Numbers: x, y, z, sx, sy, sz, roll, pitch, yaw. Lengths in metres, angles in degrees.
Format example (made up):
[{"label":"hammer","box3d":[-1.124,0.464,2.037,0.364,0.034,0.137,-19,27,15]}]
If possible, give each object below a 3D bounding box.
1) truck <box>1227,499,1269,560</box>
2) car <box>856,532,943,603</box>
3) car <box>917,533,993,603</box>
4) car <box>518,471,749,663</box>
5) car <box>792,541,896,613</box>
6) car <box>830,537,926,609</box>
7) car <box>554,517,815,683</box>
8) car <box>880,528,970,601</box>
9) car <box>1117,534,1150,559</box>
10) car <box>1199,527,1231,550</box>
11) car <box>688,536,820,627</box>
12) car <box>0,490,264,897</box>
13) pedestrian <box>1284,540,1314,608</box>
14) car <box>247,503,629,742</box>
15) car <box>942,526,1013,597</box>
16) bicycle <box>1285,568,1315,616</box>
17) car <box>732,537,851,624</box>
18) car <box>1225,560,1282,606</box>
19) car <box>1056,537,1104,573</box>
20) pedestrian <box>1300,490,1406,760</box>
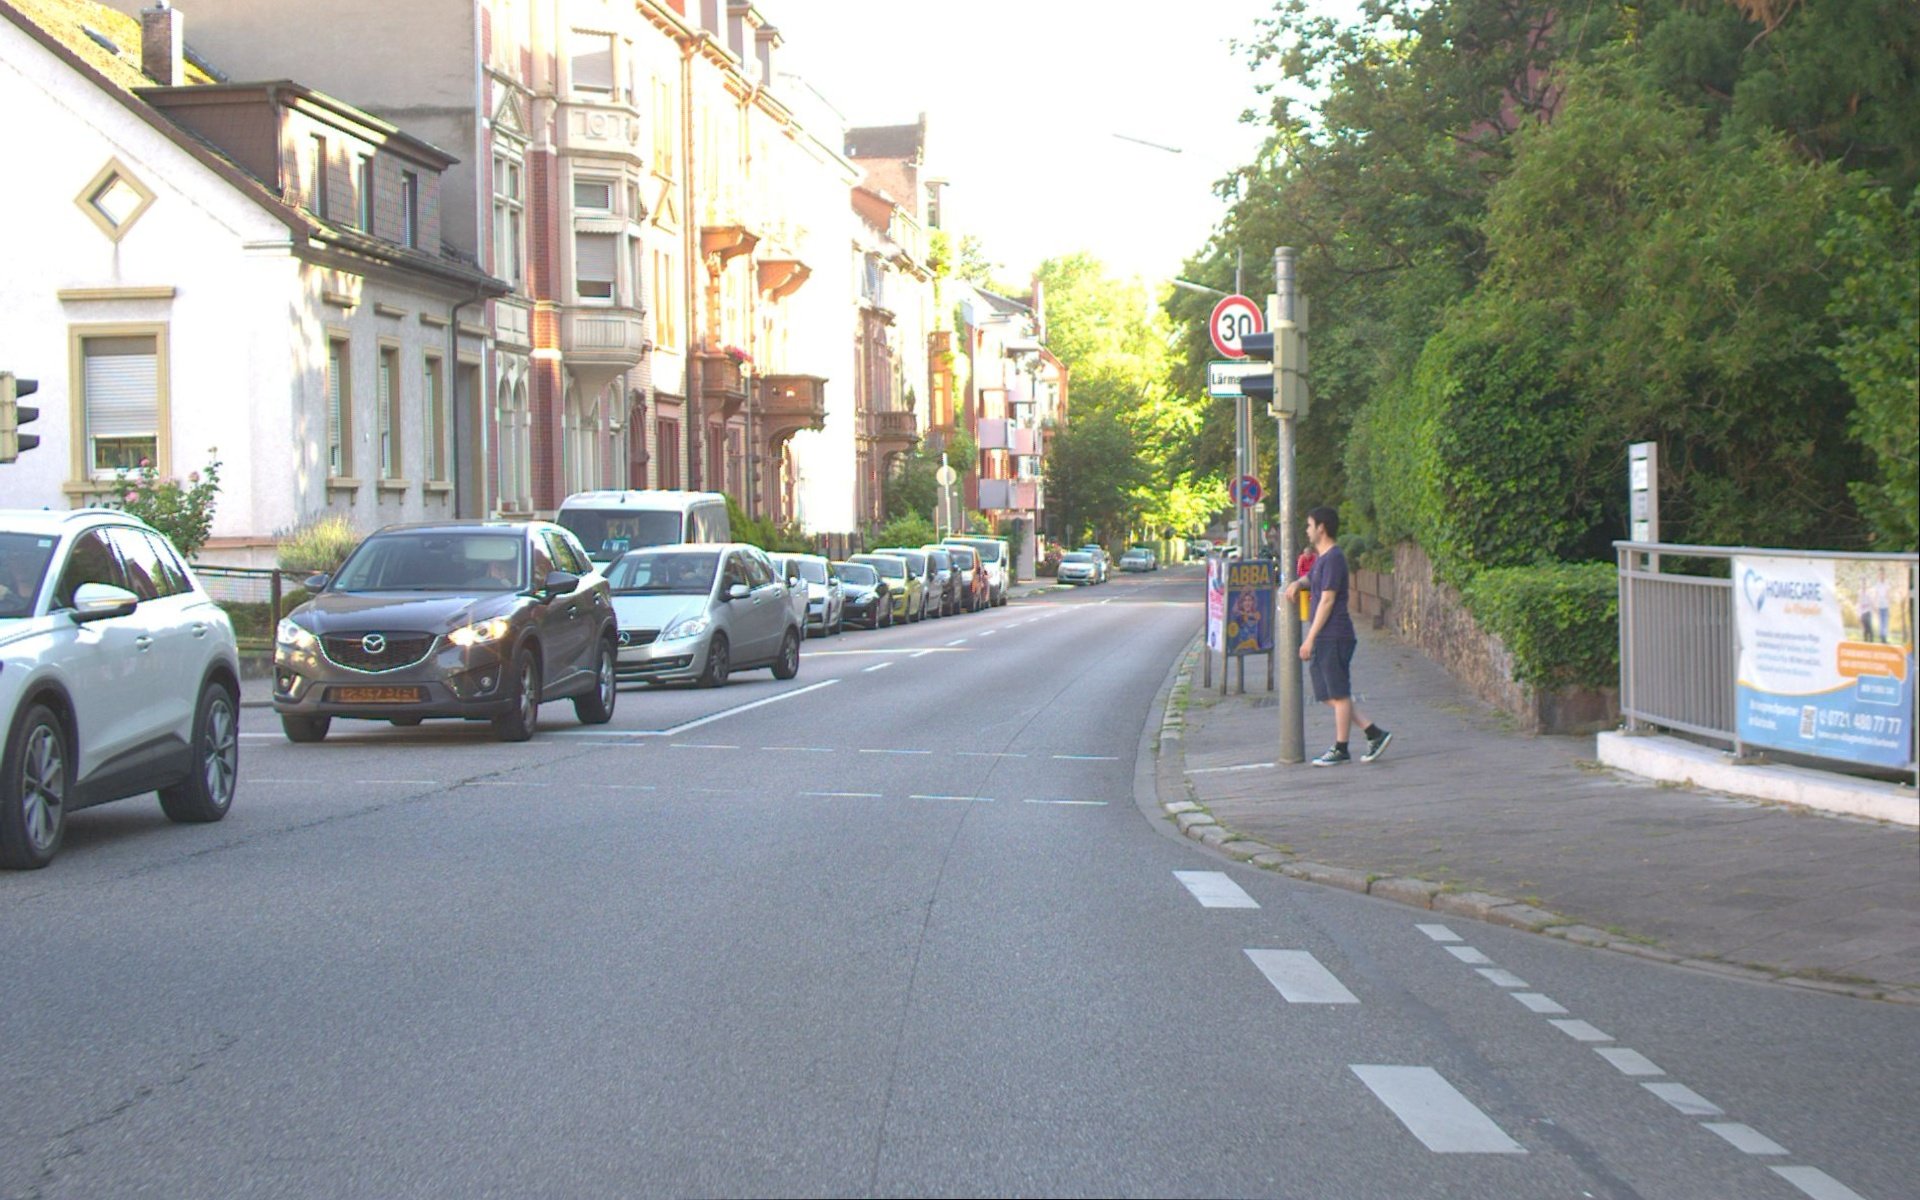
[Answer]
[{"label":"truck","box3d":[14.145,-3.491,168.968,1.994,2.887,4.470,-1,2,5]},{"label":"car","box3d":[-1.381,-0.773,79.344,1.703,1.578,3.635,1,1,4]},{"label":"car","box3d":[-0.113,-0.855,89.312,1.703,1.732,3.857,1,1,4]},{"label":"car","box3d":[-4.384,-0.503,47.224,2.068,2.452,6.013,1,1,5]},{"label":"car","box3d":[-2.314,-0.481,69.230,1.703,1.362,3.859,1,1,4]},{"label":"car","box3d":[-1.747,-0.562,74.276,1.703,1.498,4.072,1,0,4]},{"label":"car","box3d":[-2.962,-0.052,37.920,1.954,1.643,4.282,1,2,8]},{"label":"car","box3d":[-0.827,-0.885,84.098,1.703,1.702,4.440,1,1,6]},{"label":"car","box3d":[11.477,-3.548,227.300,1.994,1.486,4.470,-1,2,5]},{"label":"car","box3d":[17.799,-4.326,240.054,1.993,1.486,4.470,-1,2,2]},{"label":"car","box3d":[-3.532,-0.348,59.594,1.703,1.497,4.020,1,1,5]},{"label":"car","box3d":[-4.747,0.319,16.300,1.775,1.643,4.534,0,2,3]},{"label":"pedestrian","box3d":[7.093,-0.547,71.953,0.598,1.398,0.668,0,2,3]},{"label":"car","box3d":[-3.928,0.096,26.615,1.954,1.643,4.283,1,2,5]},{"label":"car","box3d":[0.534,-1.151,100.153,1.793,2.003,4.697,1,1,4]},{"label":"bicycle","box3d":[7.052,-0.169,71.349,0.566,0.967,0.492,0,2,1]},{"label":"car","box3d":[-3.104,-0.389,64.046,1.703,1.531,4.549,1,1,4]},{"label":"car","box3d":[10.932,-0.646,127.889,1.994,1.512,3.999,-1,2,6]},{"label":"car","box3d":[5.654,-2.115,161.026,1.994,1.486,4.470,-1,2,5]},{"label":"pedestrian","box3d":[2.511,0.152,22.001,0.602,1.687,0.612,-2,2,4]}]
